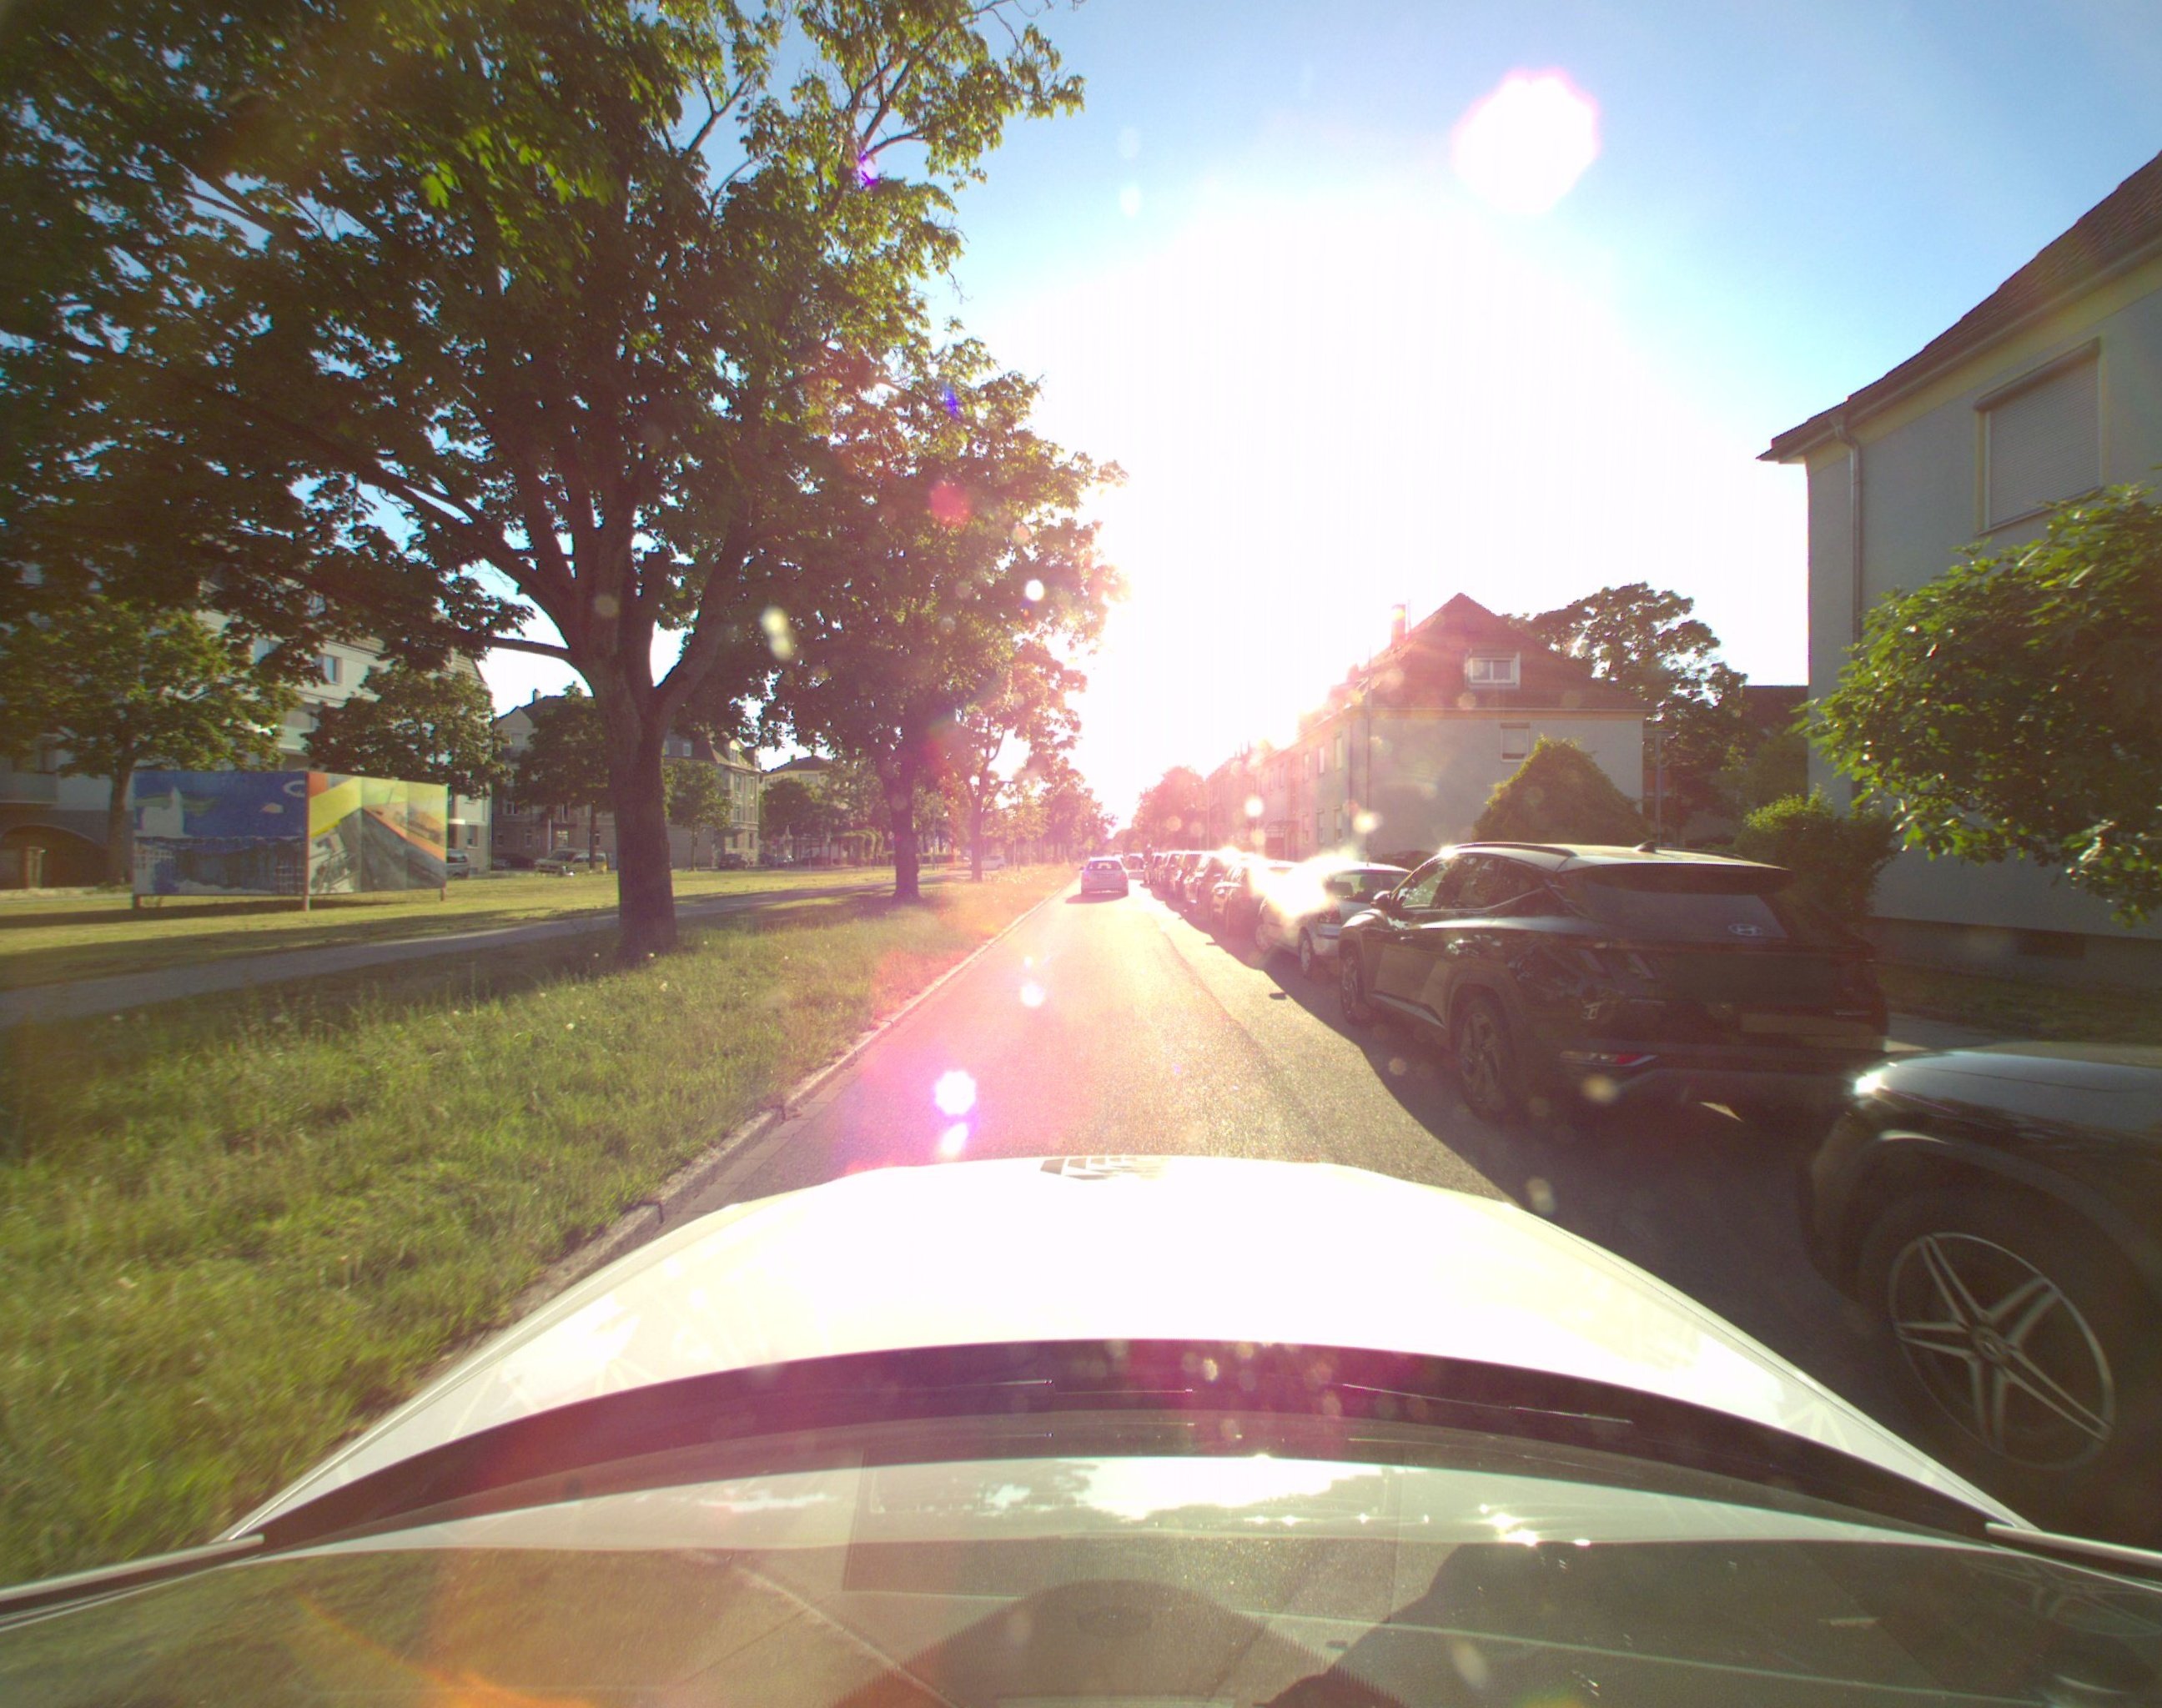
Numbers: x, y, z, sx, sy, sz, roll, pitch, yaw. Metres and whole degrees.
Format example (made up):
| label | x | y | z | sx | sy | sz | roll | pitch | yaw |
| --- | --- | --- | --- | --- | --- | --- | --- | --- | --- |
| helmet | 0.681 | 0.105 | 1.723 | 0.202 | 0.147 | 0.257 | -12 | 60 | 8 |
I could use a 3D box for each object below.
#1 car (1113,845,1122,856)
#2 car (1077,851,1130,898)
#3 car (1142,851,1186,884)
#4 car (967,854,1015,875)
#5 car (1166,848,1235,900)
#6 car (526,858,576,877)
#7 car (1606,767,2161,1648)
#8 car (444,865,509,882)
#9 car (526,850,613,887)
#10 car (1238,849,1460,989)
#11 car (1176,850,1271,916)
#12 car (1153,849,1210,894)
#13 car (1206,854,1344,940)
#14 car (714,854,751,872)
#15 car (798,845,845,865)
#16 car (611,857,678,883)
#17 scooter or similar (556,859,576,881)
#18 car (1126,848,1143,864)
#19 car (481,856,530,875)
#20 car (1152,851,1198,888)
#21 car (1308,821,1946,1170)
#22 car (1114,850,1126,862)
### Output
| label | x | y | z | sx | sy | sz | roll | pitch | yaw |
| --- | --- | --- | --- | --- | --- | --- | --- | --- | --- |
| car | 7.309 | -0.756 | 163.474 | 1.854 | 2.193 | 5.073 | -1 | 0 | 2 |
| car | 0.873 | 0.729 | 30.925 | 1.816 | 1.566 | 4.003 | -2 | 1 | 2 |
| car | 4.353 | 0.681 | 43.293 | 1.712 | 1.639 | 4.561 | 1 | 0 | -2 |
| car | -7.979 | 0.919 | 72.305 | 3.882 | 1.596 | 1.999 | -5 | -1 | -1 |
| car | 3.951 | 0.628 | 27.659 | 1.759 | 1.635 | 4.766 | 0 | 0 | 1 |
| car | -49.448 | 1.226 | 76.123 | 1.689 | 1.637 | 4.080 | -5 | -1 | 3 |
| car | 3.077 | 0.720 | 1.011 | 1.926 | 1.720 | 4.623 | 2 | 1 | 1 |
| car | -49.369 | 1.595 | 66.570 | 3.972 | 1.218 | 1.695 | -2 | 0 | 1 |
| car | -32.082 | 0.871 | 51.316 | 1.986 | 2.057 | 5.055 | -5 | -1 | 2 |
| car | 3.578 | 0.773 | 11.727 | 1.722 | 1.548 | 4.207 | 3 | 0 | 0 |
| car | 3.701 | 0.688 | 21.849 | 1.720 | 1.561 | 4.415 | 0 | 0 | -1 |
| car | 4.002 | 0.655 | 33.097 | 1.771 | 1.643 | 4.758 | -1 | 0 | 1 |
| car | 3.774 | 0.757 | 16.675 | 1.985 | 1.462 | 4.565 | 0 | 1 | 3 |
| car | -36.545 | 0.969 | 85.490 | 1.636 | 1.707 | 4.297 | -5 | -1 | 3 |
| car | -38.056 | 0.105 | 119.401 | 6.332 | 2.720 | 1.984 | -1 | 1 | -29 |
| car | -32.036 | 1.139 | 59.932 | 1.975 | 1.637 | 4.832 | -5 | -1 | 3 |
| scooter or similar | -28.037 | 0.862 | 44.356 | 0.391 | 1.127 | 1.294 | 0 | 0 | -6 |
| car | 5.714 | 0.237 | 87.142 | 1.715 | 1.597 | 4.002 | -2 | 0 | 2 |
| car | -54.071 | 1.080 | 76.655 | 1.591 | 1.716 | 3.973 | -1 | 0 | 3 |
| car | 4.333 | 0.679 | 38.035 | 1.723 | 1.526 | 3.736 | -3 | 1 | 1 |
| car | 3.262 | 0.638 | 6.288 | 1.847 | 1.657 | 4.822 | 0 | 1 | 2 |
| car | 6.929 | 0.345 | 145.415 | 1.981 | 2.023 | 4.002 | -1 | 0 | 2 |
